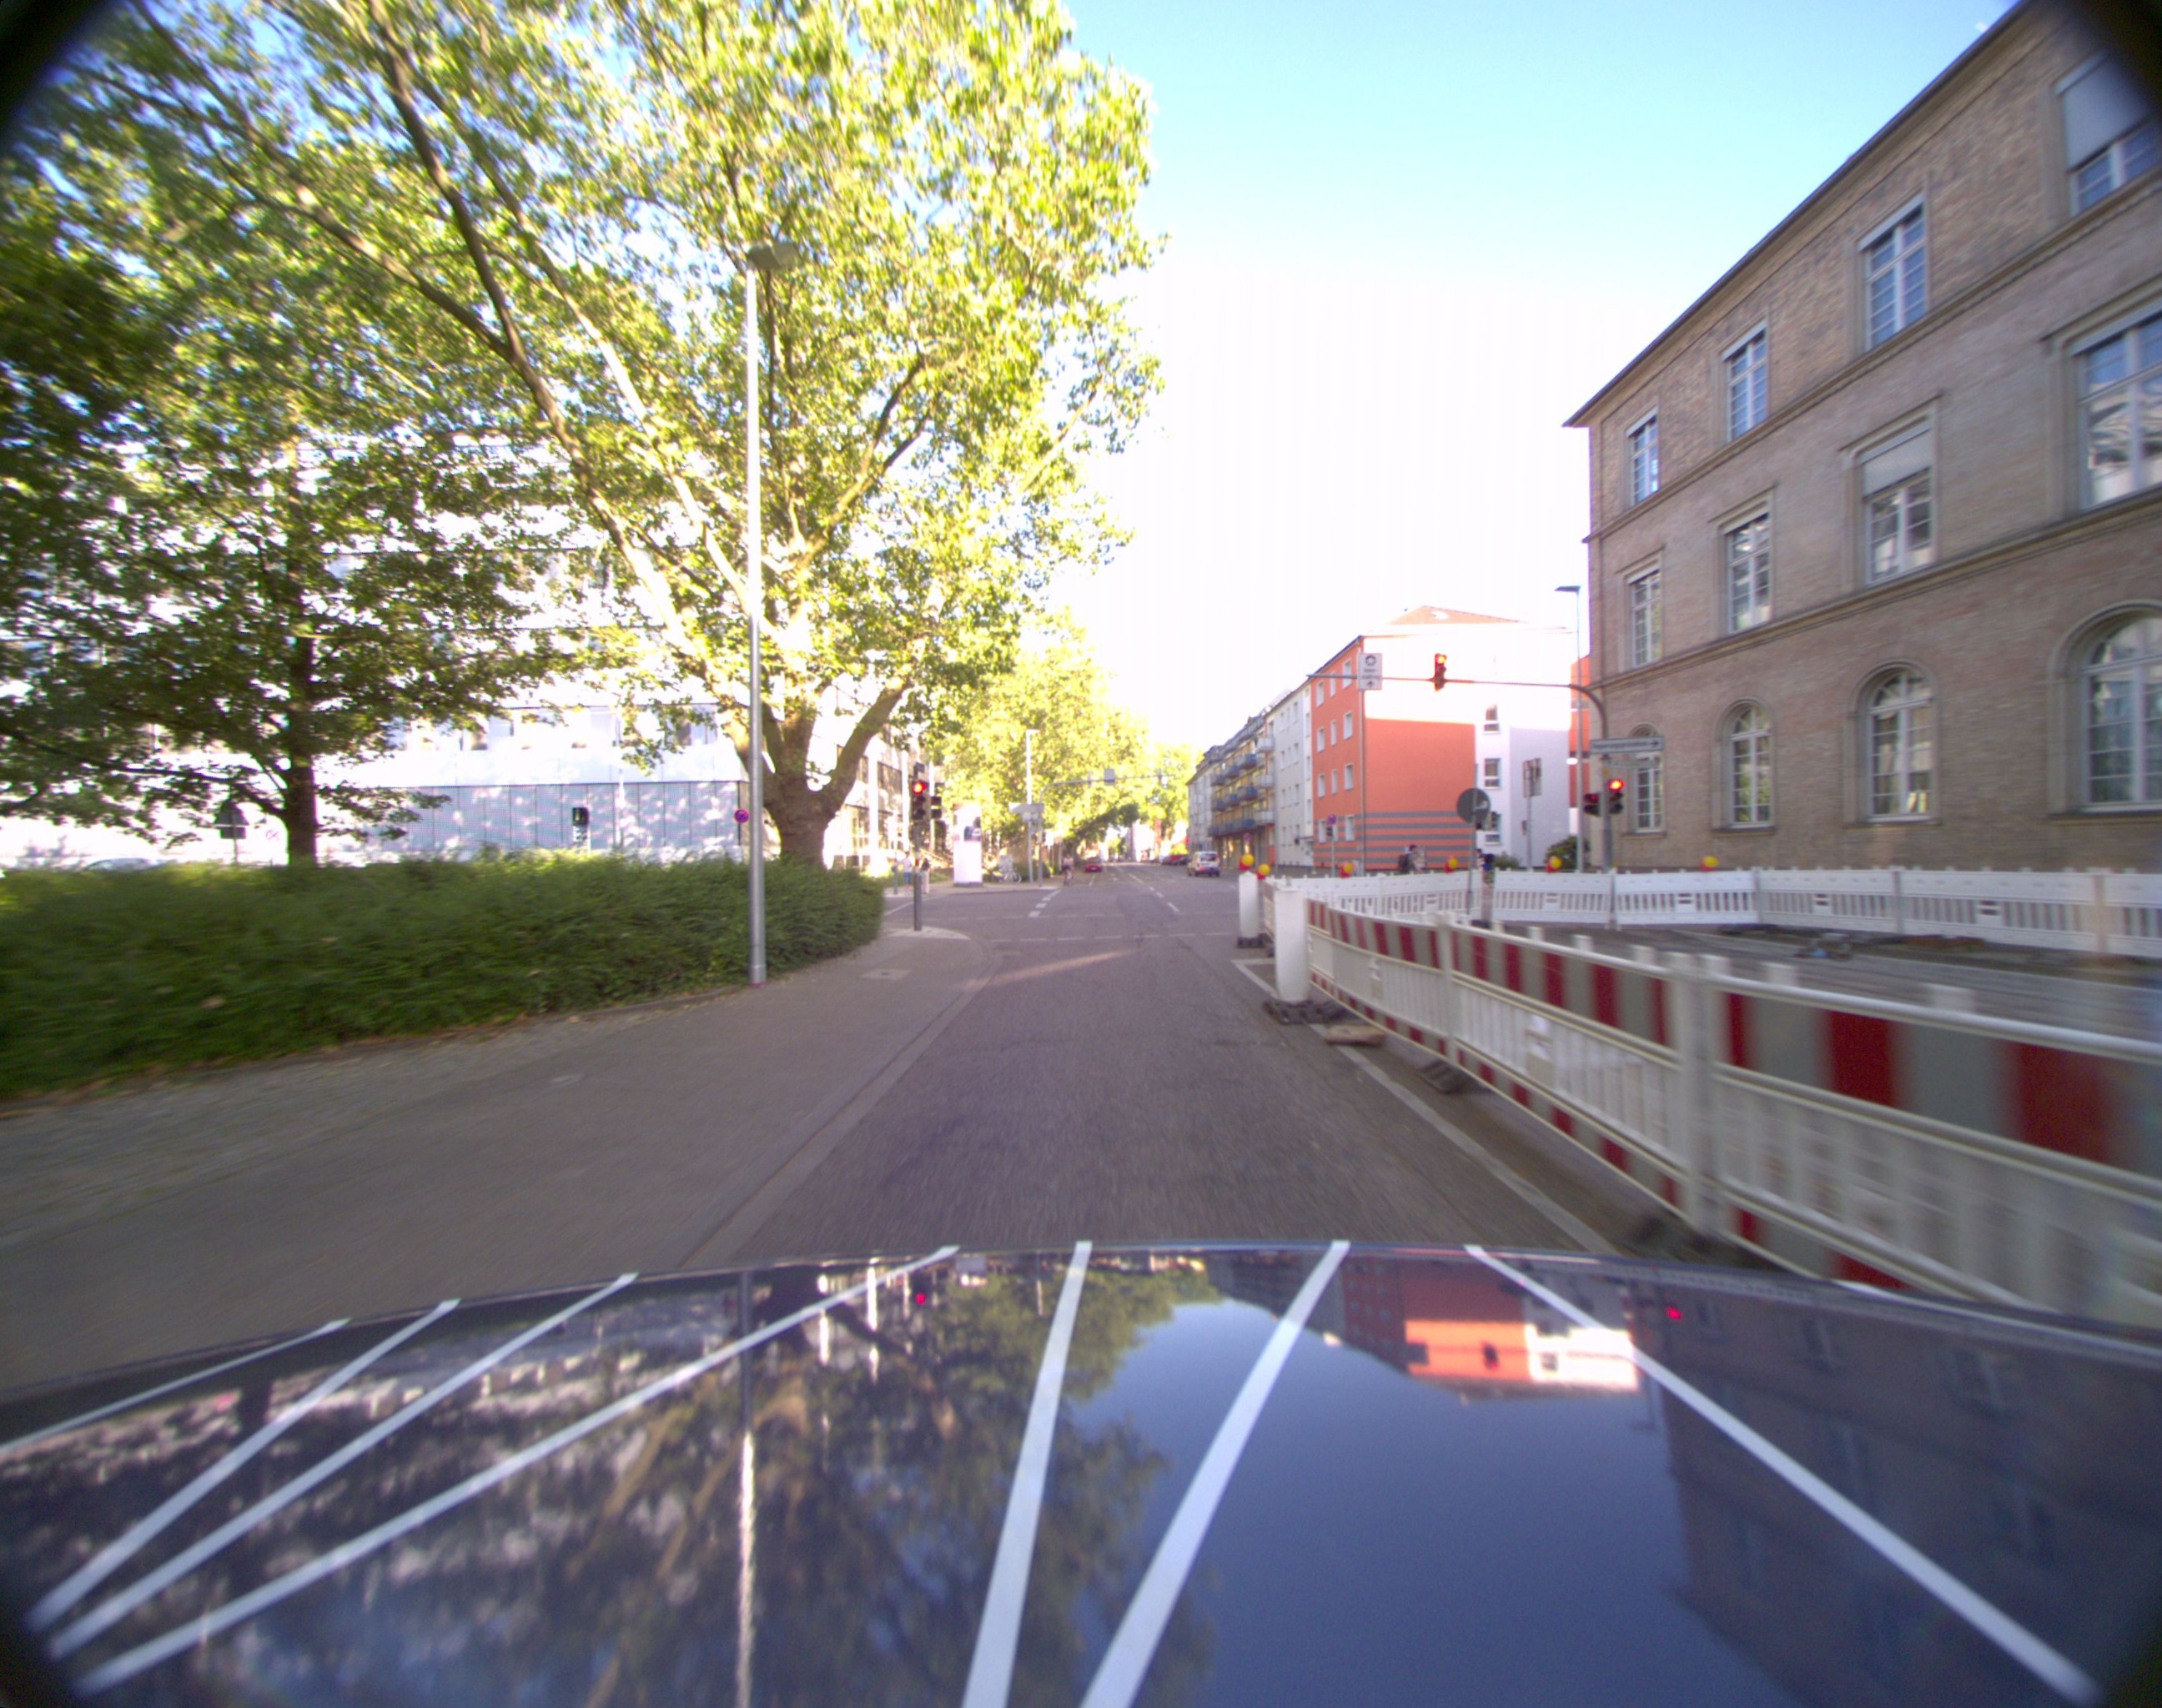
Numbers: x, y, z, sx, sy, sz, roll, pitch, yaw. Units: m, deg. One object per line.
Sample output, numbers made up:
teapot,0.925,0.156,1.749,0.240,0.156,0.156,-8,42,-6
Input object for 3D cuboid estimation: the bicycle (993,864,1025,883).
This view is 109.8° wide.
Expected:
bicycle,-3.993,1.074,42.180,1.638,0.993,0.621,1,2,-24

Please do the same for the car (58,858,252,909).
car,-35.110,1.082,28.931,4.716,1.818,2.109,-1,0,-1

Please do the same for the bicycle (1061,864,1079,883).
bicycle,-0.627,1.134,44.242,0.703,1.060,1.930,-1,-1,9

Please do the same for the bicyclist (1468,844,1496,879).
bicyclist,16.079,0.317,30.478,0.837,1.364,0.793,1,-1,14

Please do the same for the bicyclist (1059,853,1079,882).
bicyclist,-0.705,0.767,44.116,0.949,1.630,1.008,-2,0,9

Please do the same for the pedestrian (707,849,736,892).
pedestrian,-15.010,0.689,31.728,0.997,1.761,0.604,-1,1,-30

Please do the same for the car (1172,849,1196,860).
car,17.901,0.082,131.661,3.996,1.689,1.834,-1,0,3

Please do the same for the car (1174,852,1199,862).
car,17.574,0.532,126.376,3.996,1.689,1.834,-1,0,3

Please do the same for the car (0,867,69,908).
car,-41.135,1.273,28.587,3.848,1.476,1.630,-1,0,-1

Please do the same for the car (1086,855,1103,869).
car,1.517,0.888,84.784,1.786,1.520,4.657,-1,0,0

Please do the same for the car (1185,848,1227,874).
car,9.122,0.497,55.862,1.999,1.806,5.123,0,0,-3

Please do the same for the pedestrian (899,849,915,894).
pedestrian,-7.348,0.732,32.067,0.604,1.828,0.569,-1,1,-14

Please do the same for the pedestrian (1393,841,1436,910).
pedestrian,8.702,0.548,19.845,0.883,1.761,0.748,-1,0,12

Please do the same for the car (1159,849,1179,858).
car,18.134,-0.075,156.960,3.996,1.689,1.834,-1,0,3

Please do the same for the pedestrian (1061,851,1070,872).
pedestrian,-1.317,0.608,63.455,0.671,1.786,0.665,0,0,-5

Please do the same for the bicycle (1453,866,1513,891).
bicycle,16.082,0.977,30.453,1.989,0.993,0.791,0,-2,14

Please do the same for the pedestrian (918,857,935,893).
pedestrian,-6.540,0.880,32.160,0.673,1.515,0.560,-1,1,-10
